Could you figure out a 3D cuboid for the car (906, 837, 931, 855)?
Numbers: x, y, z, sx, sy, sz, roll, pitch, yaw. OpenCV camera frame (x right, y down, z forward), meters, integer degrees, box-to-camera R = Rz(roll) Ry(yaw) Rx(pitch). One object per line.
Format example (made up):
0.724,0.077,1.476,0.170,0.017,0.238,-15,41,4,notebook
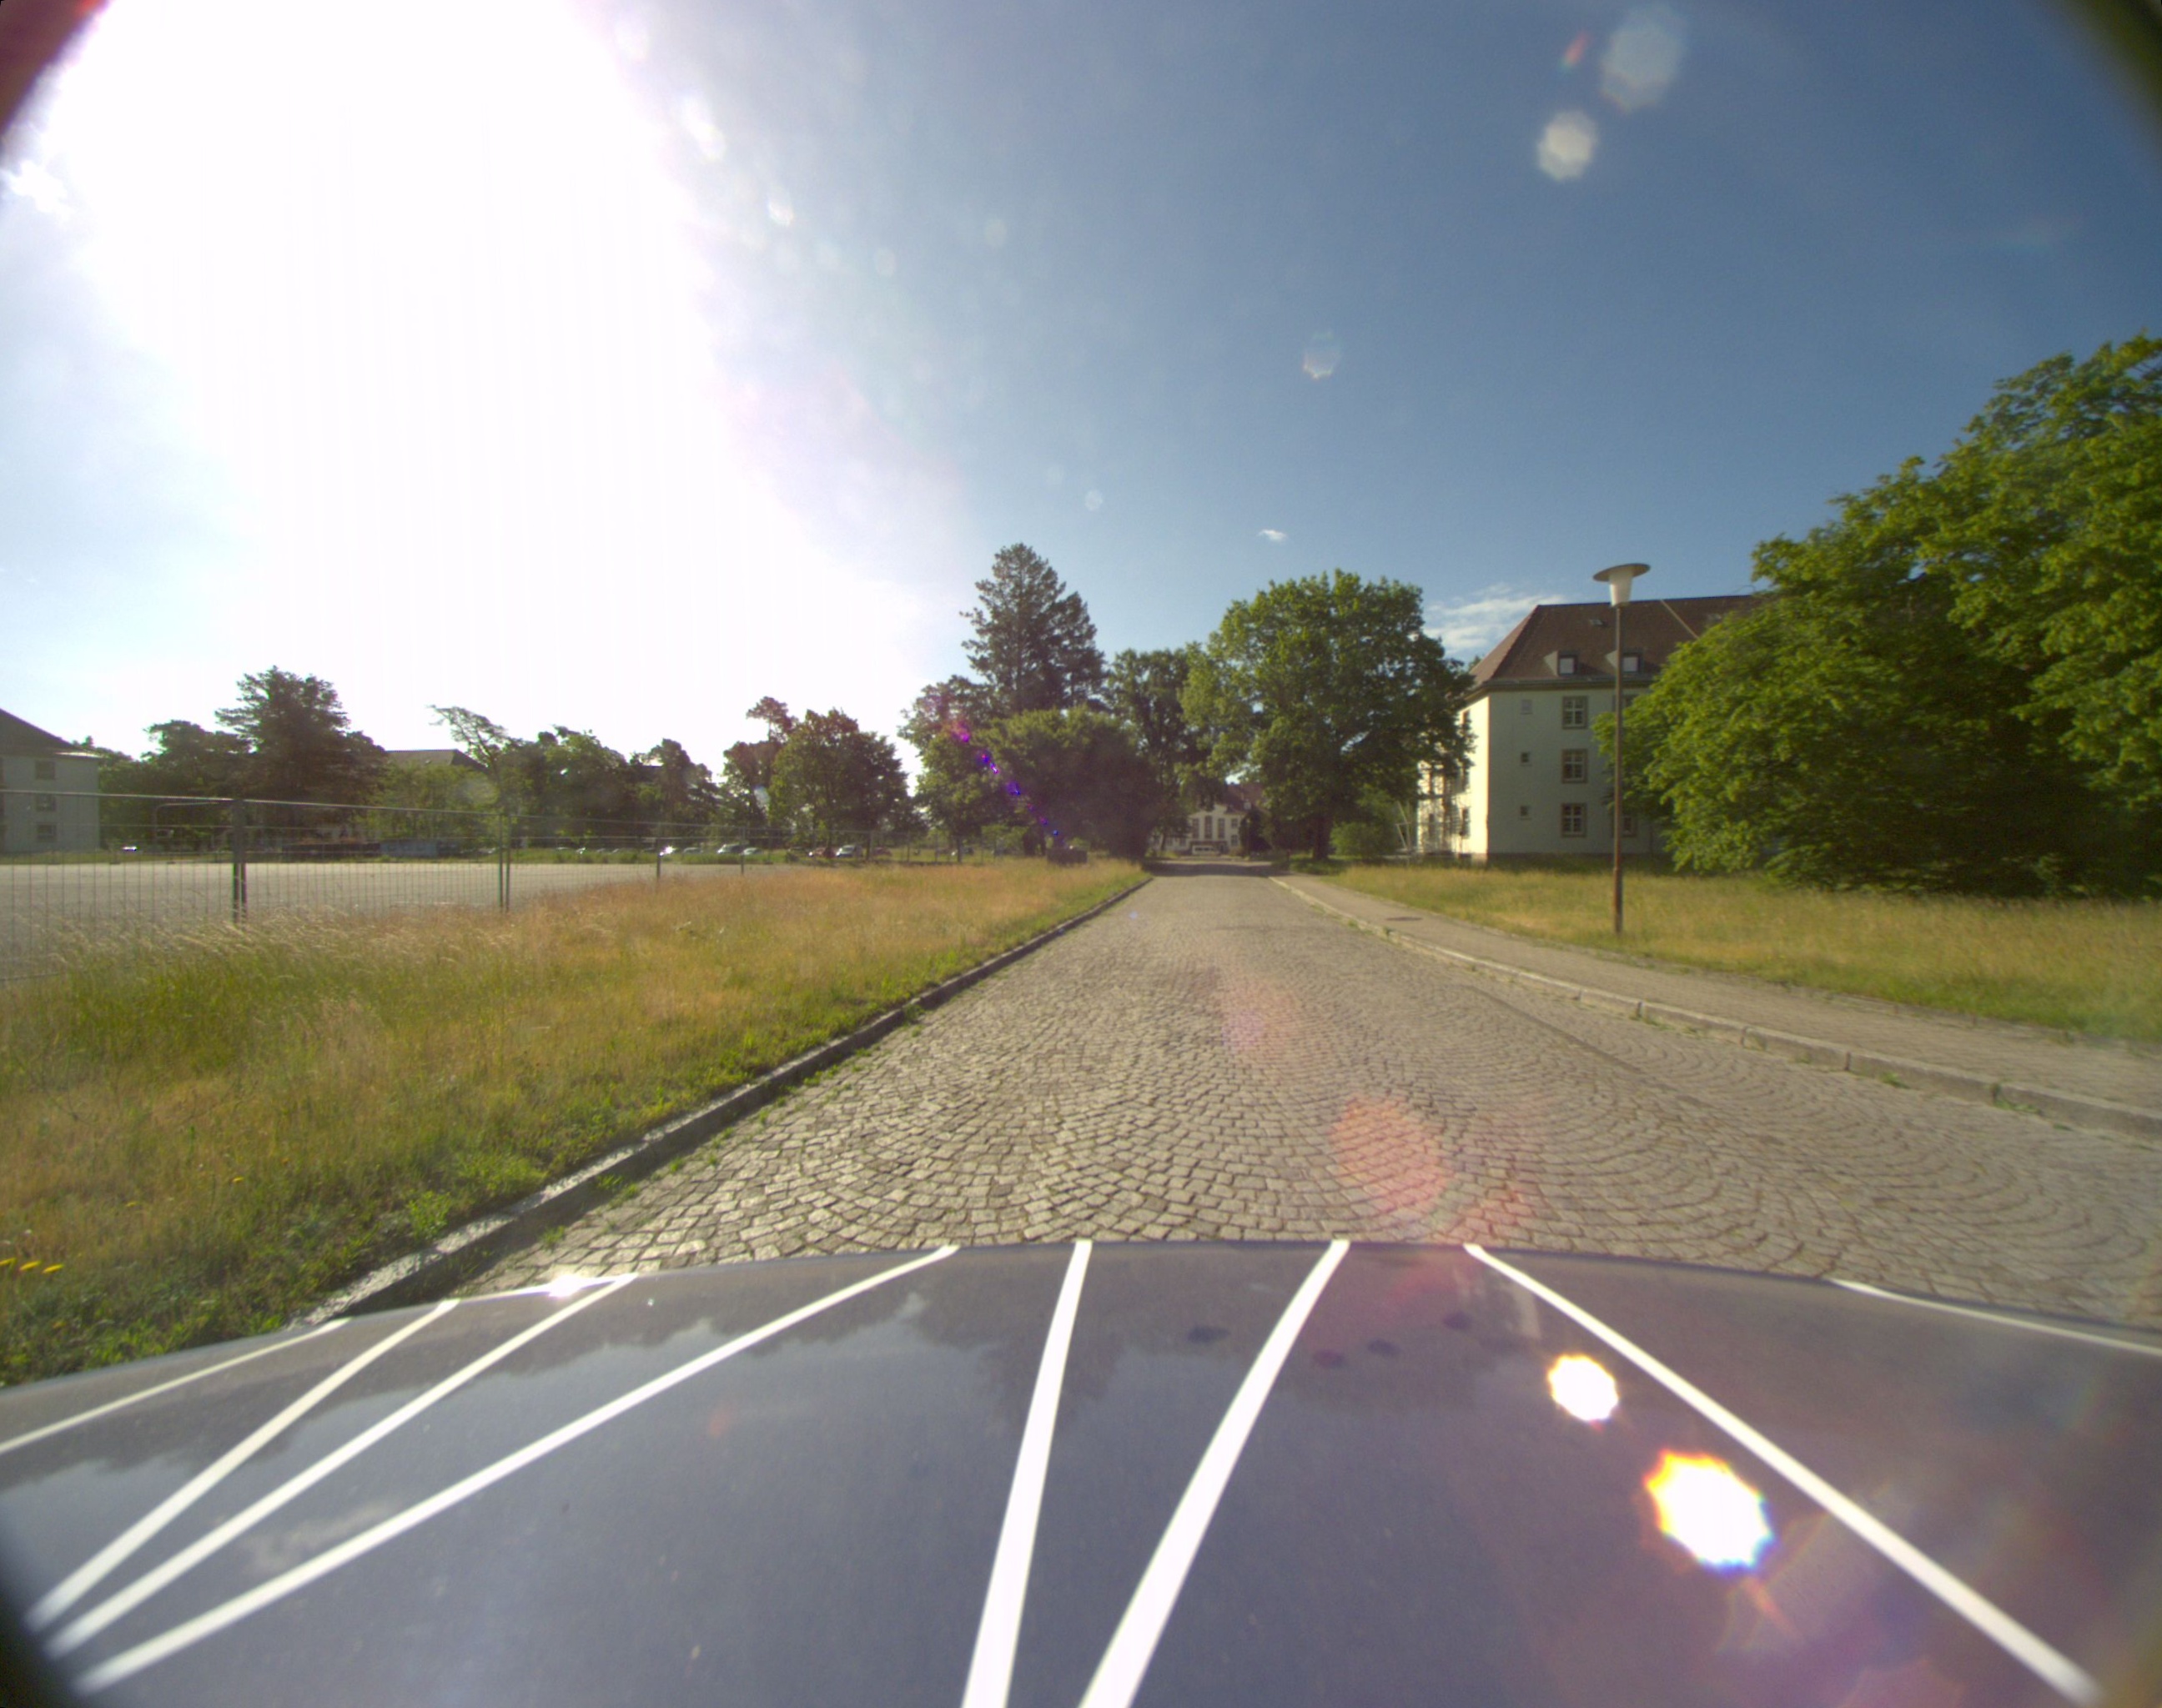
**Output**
-19.416,-0.970,90.899,1.740,2.002,3.621,0,1,9,car

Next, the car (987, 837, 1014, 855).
-9.226,-0.937,87.865,2.244,2.002,4.350,0,1,6,car

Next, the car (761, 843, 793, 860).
-37.544,-0.360,93.934,1.997,2.002,4.002,0,1,8,car

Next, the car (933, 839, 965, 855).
-15.599,-0.894,89.996,2.243,1.828,4.353,0,1,13,car

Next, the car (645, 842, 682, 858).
-52.223,-0.486,95.161,1.997,2.002,4.002,0,1,8,car

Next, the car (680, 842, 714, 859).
-47.641,-0.427,94.456,1.740,2.002,3.854,0,1,11,car

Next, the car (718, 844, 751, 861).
-42.468,-0.261,93.175,1.740,2.002,3.854,0,1,11,car

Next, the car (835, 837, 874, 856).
-27.279,-0.897,91.729,1.997,2.003,6.036,-2,2,10,car

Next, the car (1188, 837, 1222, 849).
24.095,-2.126,147.031,6.440,2.452,2.465,0,1,10,car

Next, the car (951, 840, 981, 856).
-13.401,-0.744,88.812,2.244,1.828,4.352,0,1,10,car

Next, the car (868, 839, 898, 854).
-23.620,-0.914,90.679,1.997,1.642,4.002,0,1,9,car

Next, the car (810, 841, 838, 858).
-31.074,-0.605,91.838,1.740,2.002,3.621,0,1,9,car

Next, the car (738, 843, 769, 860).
-40.024,-0.335,92.909,1.740,2.002,3.853,0,1,9,car
